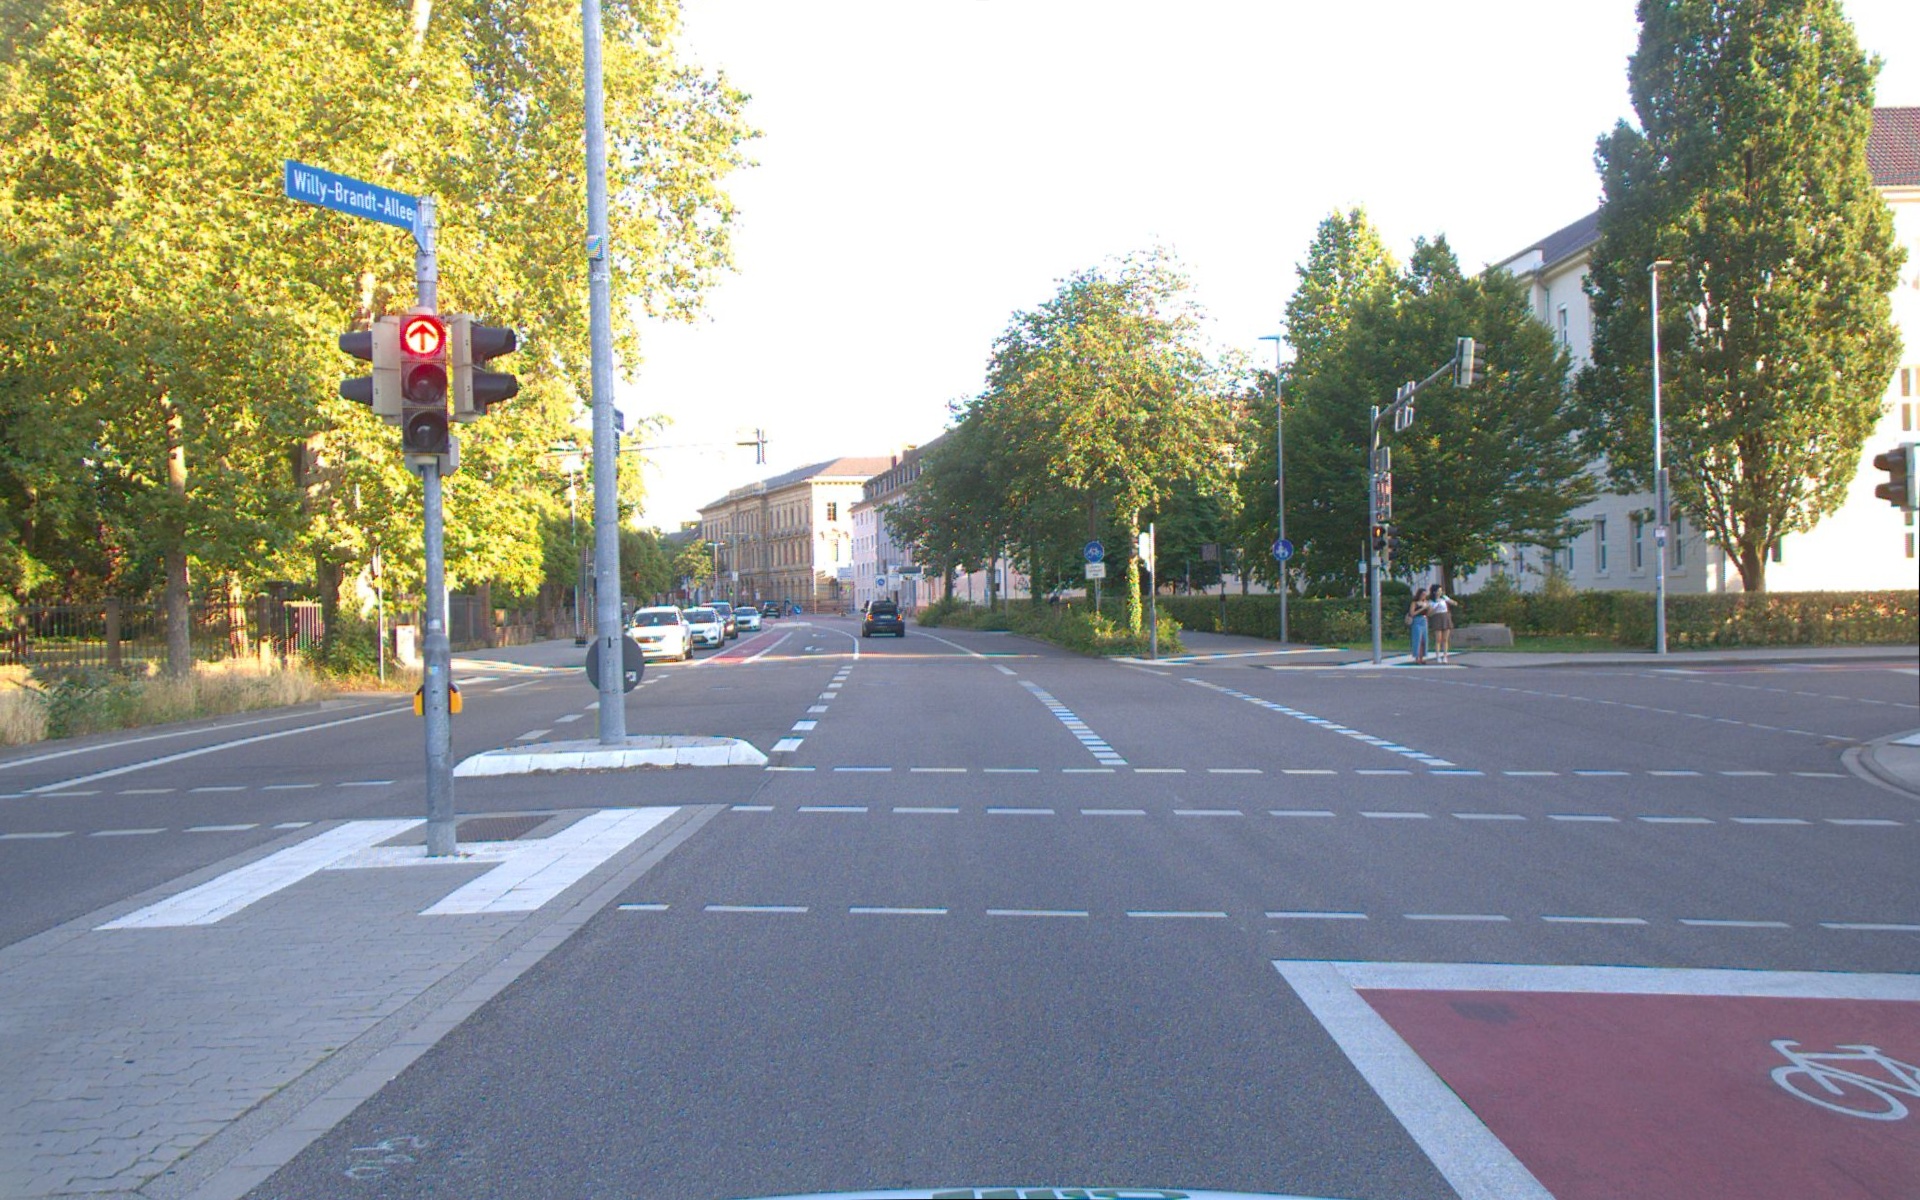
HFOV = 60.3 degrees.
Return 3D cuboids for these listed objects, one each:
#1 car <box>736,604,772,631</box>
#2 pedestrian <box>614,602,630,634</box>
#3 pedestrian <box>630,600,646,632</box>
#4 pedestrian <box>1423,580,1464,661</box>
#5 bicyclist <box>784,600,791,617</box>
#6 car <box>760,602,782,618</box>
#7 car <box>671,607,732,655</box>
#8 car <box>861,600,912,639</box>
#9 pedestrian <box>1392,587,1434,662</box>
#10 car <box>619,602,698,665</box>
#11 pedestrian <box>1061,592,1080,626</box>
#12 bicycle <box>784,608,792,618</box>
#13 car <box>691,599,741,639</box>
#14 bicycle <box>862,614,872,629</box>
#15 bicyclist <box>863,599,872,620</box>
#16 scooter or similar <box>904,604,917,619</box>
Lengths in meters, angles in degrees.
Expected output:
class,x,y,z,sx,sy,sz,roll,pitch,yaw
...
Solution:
class,x,y,z,sx,sy,sz,roll,pitch,yaw
car,-12.381,1.026,99.448,1.879,1.442,4.765,-3,0,-5
pedestrian,-18.085,0.966,88.460,0.667,1.650,0.688,-1,0,-1
pedestrian,-17.200,0.854,88.314,0.667,1.650,0.688,-1,0,-1
pedestrian,10.822,0.445,37.034,0.667,1.784,0.688,-1,0,-1
bicyclist,-18.356,0.890,176.233,0.640,1.727,0.955,1,-1,-11
car,-19.445,1.028,169.766,1.882,1.442,4.758,-3,0,-11
car,-9.755,1.151,62.659,1.879,1.611,4.669,-3,0,-5
car,-3.173,0.809,70.744,1.832,1.536,3.994,-1,0,-7
pedestrian,10.127,0.542,37.002,0.667,1.650,0.845,-1,0,-1
car,-9.188,0.976,50.713,1.879,1.725,4.422,-3,0,-5
pedestrian,5.922,0.479,88.665,0.756,1.769,0.805,-1,0,-10
bicycle,-18.363,1.410,176.222,0.640,1.033,2.192,1,0,-10
car,-11.147,0.855,75.683,1.879,1.653,4.634,-3,0,-5
bicycle,-6.450,1.484,115.112,0.639,1.033,2.196,1,0,-3
bicyclist,-6.429,0.682,115.088,0.639,1.471,0.879,1,0,-3
scooter or similar,-4.375,1.010,145.264,0.619,1.360,2.391,-1,0,-14
